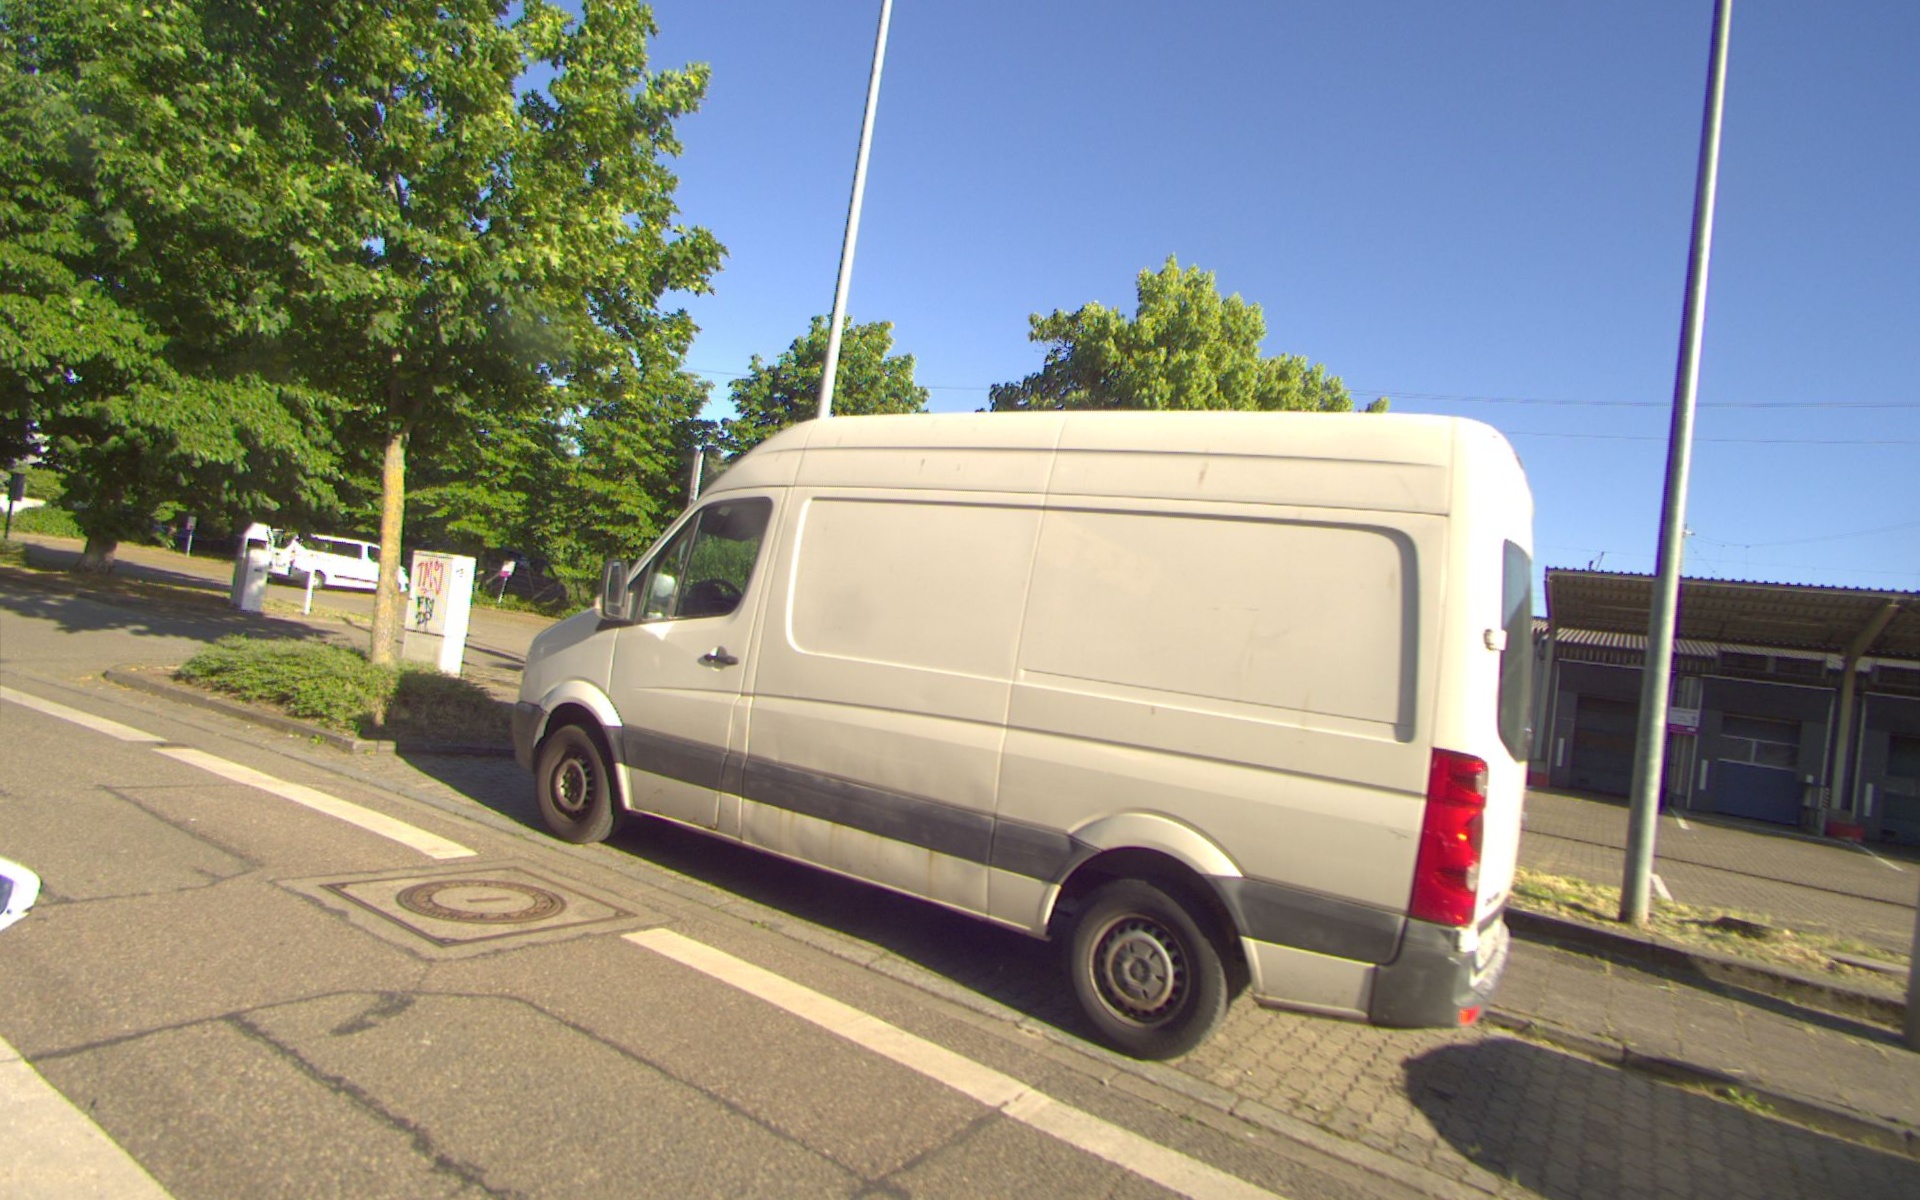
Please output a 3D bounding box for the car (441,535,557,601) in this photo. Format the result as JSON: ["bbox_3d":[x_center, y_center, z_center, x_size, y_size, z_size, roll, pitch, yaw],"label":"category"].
[{"bbox_3d":[-20.581,-1.377,45.135,2.104,2.266,4.204,7,-2,22],"label":"car"}]

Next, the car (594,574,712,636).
[{"bbox_3d":[-12.881,0.248,42.524,1.927,1.834,4.703,7,-4,26],"label":"car"}]

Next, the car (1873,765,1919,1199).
[{"bbox_3d":[5.078,1.527,1.938,4.526,1.547,1.914,6,-2,33],"label":"car"}]

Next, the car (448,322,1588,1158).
[{"bbox_3d":[-0.074,0.263,5.775,5.992,2.698,2.182,6,0,33],"label":"car"}]

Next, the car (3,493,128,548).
[{"bbox_3d":[-43.905,-3.889,49.480,1.965,1.790,4.004,7,-4,26],"label":"car"}]

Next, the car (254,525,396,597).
[{"bbox_3d":[-23.257,-1.372,37.017,1.775,1.880,3.925,7,-4,23],"label":"car"}]
